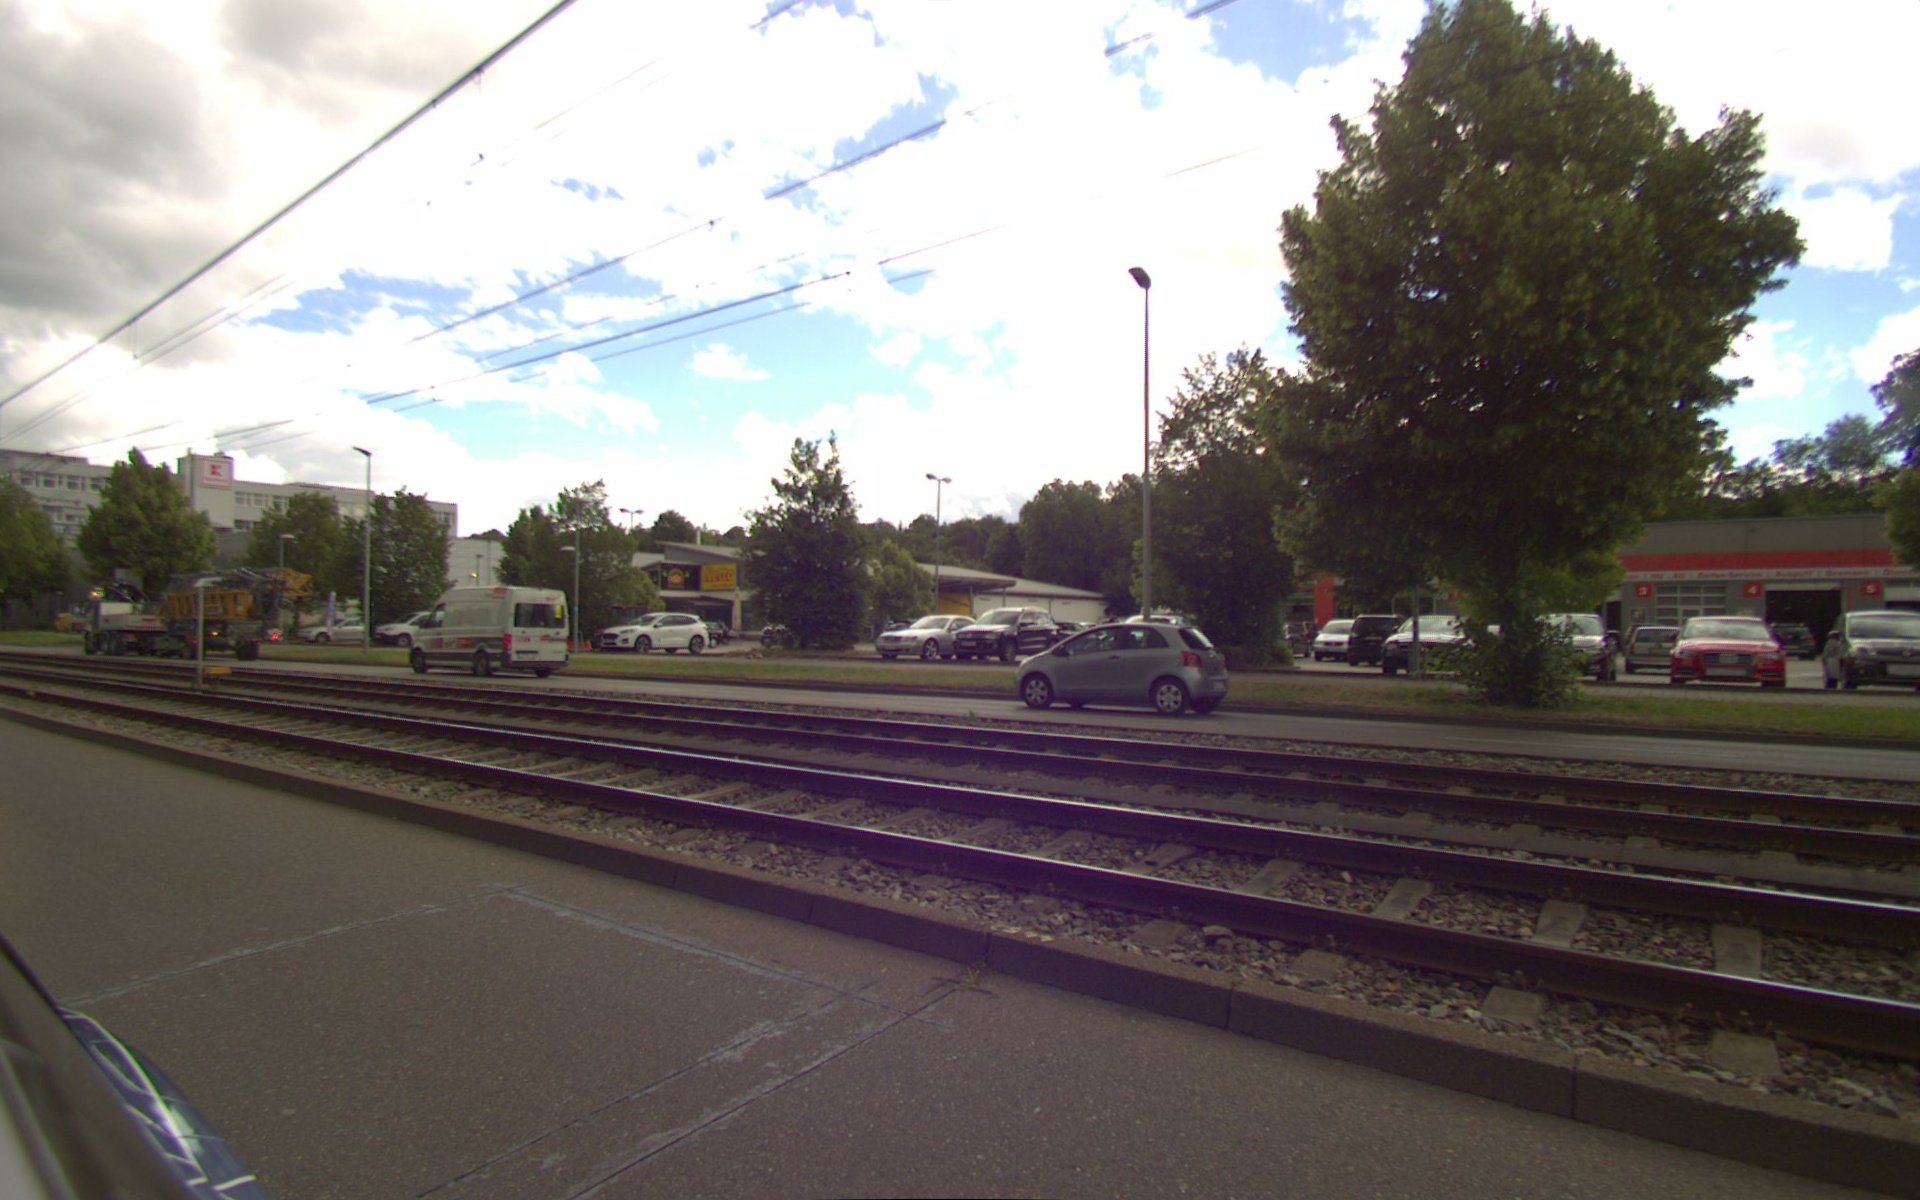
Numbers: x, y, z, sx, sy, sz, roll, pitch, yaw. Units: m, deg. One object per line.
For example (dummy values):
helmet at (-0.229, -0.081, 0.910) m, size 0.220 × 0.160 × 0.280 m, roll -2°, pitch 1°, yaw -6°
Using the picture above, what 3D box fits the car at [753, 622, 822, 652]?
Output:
car at (-10.160, 2.164, 59.848) m, size 1.774 × 1.518 × 3.952 m, roll -1°, pitch 1°, yaw 36°

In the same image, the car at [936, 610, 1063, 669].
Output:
car at (1.261, 1.140, 30.484) m, size 1.934 × 1.518 × 3.951 m, roll -1°, pitch 1°, yaw 36°

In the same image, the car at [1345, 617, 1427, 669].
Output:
car at (14.283, 1.419, 33.856) m, size 1.821 × 1.660 × 3.696 m, roll -1°, pitch -2°, yaw 34°

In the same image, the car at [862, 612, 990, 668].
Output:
car at (-1.001, 1.196, 31.683) m, size 1.998 × 1.518 × 3.951 m, roll -1°, pitch 1°, yaw 36°

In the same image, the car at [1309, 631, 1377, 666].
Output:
car at (15.099, 1.875, 39.808) m, size 1.662 × 1.140 × 3.697 m, roll -1°, pitch 1°, yaw 34°

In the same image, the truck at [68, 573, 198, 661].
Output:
truck at (-40.543, 0.905, 49.490) m, size 8.615 × 3.997 × 2.865 m, roll -2°, pitch -3°, yaw 37°

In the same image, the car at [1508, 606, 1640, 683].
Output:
car at (13.276, 0.889, 21.790) m, size 2.089 × 1.377 × 3.951 m, roll -1°, pitch 1°, yaw 36°

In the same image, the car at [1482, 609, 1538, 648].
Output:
car at (25.802, 1.292, 47.438) m, size 1.916 × 1.634 × 3.697 m, roll -1°, pitch 0°, yaw 34°

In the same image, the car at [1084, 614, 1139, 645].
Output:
car at (8.896, 1.694, 59.274) m, size 1.719 × 1.634 × 3.697 m, roll -1°, pitch 0°, yaw 34°

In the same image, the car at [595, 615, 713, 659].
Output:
car at (-12.310, 1.451, 40.950) m, size 1.790 × 1.518 × 4.434 m, roll -1°, pitch 1°, yaw 33°

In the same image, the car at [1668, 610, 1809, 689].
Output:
car at (15.170, 0.896, 19.863) m, size 1.996 × 1.245 × 3.951 m, roll -1°, pitch 1°, yaw 36°

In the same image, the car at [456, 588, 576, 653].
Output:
car at (-20.125, 0.988, 46.052) m, size 2.284 × 2.769 × 4.429 m, roll -1°, pitch -3°, yaw 36°

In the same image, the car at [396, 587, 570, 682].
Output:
car at (-13.883, 1.013, 29.310) m, size 5.987 × 2.518 × 1.852 m, roll -1°, pitch -4°, yaw 36°

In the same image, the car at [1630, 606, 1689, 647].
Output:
car at (30.405, 1.120, 43.926) m, size 1.996 × 1.605 × 3.951 m, roll -1°, pitch 1°, yaw 36°

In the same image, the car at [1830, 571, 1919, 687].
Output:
car at (17.556, 0.452, 18.605) m, size 1.996 × 1.932 × 3.951 m, roll -1°, pitch 0°, yaw 36°

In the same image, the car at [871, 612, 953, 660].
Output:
car at (-2.166, 1.622, 46.704) m, size 1.947 × 2.029 × 3.697 m, roll -1°, pitch 0°, yaw 34°

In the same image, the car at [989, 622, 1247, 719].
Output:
car at (2.710, 1.186, 17.598) m, size 3.992 × 1.494 × 1.976 m, roll -1°, pitch -4°, yaw 36°

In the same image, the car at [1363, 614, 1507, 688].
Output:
car at (10.937, 1.088, 23.156) m, size 2.191 × 1.364 × 4.334 m, roll -1°, pitch 1°, yaw 36°

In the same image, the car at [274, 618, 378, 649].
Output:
car at (-35.628, 1.872, 56.997) m, size 1.998 × 1.504 × 4.555 m, roll -1°, pitch 1°, yaw 40°

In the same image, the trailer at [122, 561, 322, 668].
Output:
trailer at (-31.350, 0.733, 42.553) m, size 14.401 × 3.927 × 2.646 m, roll -1°, pitch -4°, yaw 37°

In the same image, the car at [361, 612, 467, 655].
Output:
car at (-27.782, 1.666, 51.607) m, size 1.998 × 1.933 × 4.302 m, roll -1°, pitch 1°, yaw 40°

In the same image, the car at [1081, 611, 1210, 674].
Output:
car at (5.105, 1.096, 27.484) m, size 1.934 × 1.431 × 3.951 m, roll -1°, pitch 1°, yaw 36°

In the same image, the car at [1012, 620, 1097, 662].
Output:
car at (3.943, 1.660, 41.980) m, size 1.947 × 1.501 × 3.697 m, roll -1°, pitch 0°, yaw 34°

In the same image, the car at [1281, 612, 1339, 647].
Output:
car at (18.119, 1.503, 52.298) m, size 1.916 × 1.634 × 3.697 m, roll -1°, pitch 0°, yaw 34°

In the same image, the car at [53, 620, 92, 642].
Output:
car at (-84.349, 2.960, 96.152) m, size 3.992 × 2.029 × 1.976 m, roll -1°, pitch -2°, yaw 36°

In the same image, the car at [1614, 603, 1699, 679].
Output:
car at (20.841, 1.175, 30.352) m, size 1.947 × 2.029 × 3.697 m, roll -1°, pitch 0°, yaw 34°

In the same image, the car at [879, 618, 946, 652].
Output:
car at (-2.528, 1.860, 54.551) m, size 1.719 × 1.634 × 3.697 m, roll -1°, pitch 0°, yaw 34°

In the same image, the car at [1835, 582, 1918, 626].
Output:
car at (36.476, 0.122, 40.375) m, size 1.916 × 1.634 × 3.697 m, roll -1°, pitch 0°, yaw 34°

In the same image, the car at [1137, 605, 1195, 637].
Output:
car at (11.595, 1.188, 56.857) m, size 1.916 × 1.634 × 3.697 m, roll -1°, pitch 0°, yaw 34°

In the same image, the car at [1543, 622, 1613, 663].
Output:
car at (22.193, 1.519, 36.301) m, size 1.947 × 1.400 × 3.696 m, roll -1°, pitch -3°, yaw 34°
